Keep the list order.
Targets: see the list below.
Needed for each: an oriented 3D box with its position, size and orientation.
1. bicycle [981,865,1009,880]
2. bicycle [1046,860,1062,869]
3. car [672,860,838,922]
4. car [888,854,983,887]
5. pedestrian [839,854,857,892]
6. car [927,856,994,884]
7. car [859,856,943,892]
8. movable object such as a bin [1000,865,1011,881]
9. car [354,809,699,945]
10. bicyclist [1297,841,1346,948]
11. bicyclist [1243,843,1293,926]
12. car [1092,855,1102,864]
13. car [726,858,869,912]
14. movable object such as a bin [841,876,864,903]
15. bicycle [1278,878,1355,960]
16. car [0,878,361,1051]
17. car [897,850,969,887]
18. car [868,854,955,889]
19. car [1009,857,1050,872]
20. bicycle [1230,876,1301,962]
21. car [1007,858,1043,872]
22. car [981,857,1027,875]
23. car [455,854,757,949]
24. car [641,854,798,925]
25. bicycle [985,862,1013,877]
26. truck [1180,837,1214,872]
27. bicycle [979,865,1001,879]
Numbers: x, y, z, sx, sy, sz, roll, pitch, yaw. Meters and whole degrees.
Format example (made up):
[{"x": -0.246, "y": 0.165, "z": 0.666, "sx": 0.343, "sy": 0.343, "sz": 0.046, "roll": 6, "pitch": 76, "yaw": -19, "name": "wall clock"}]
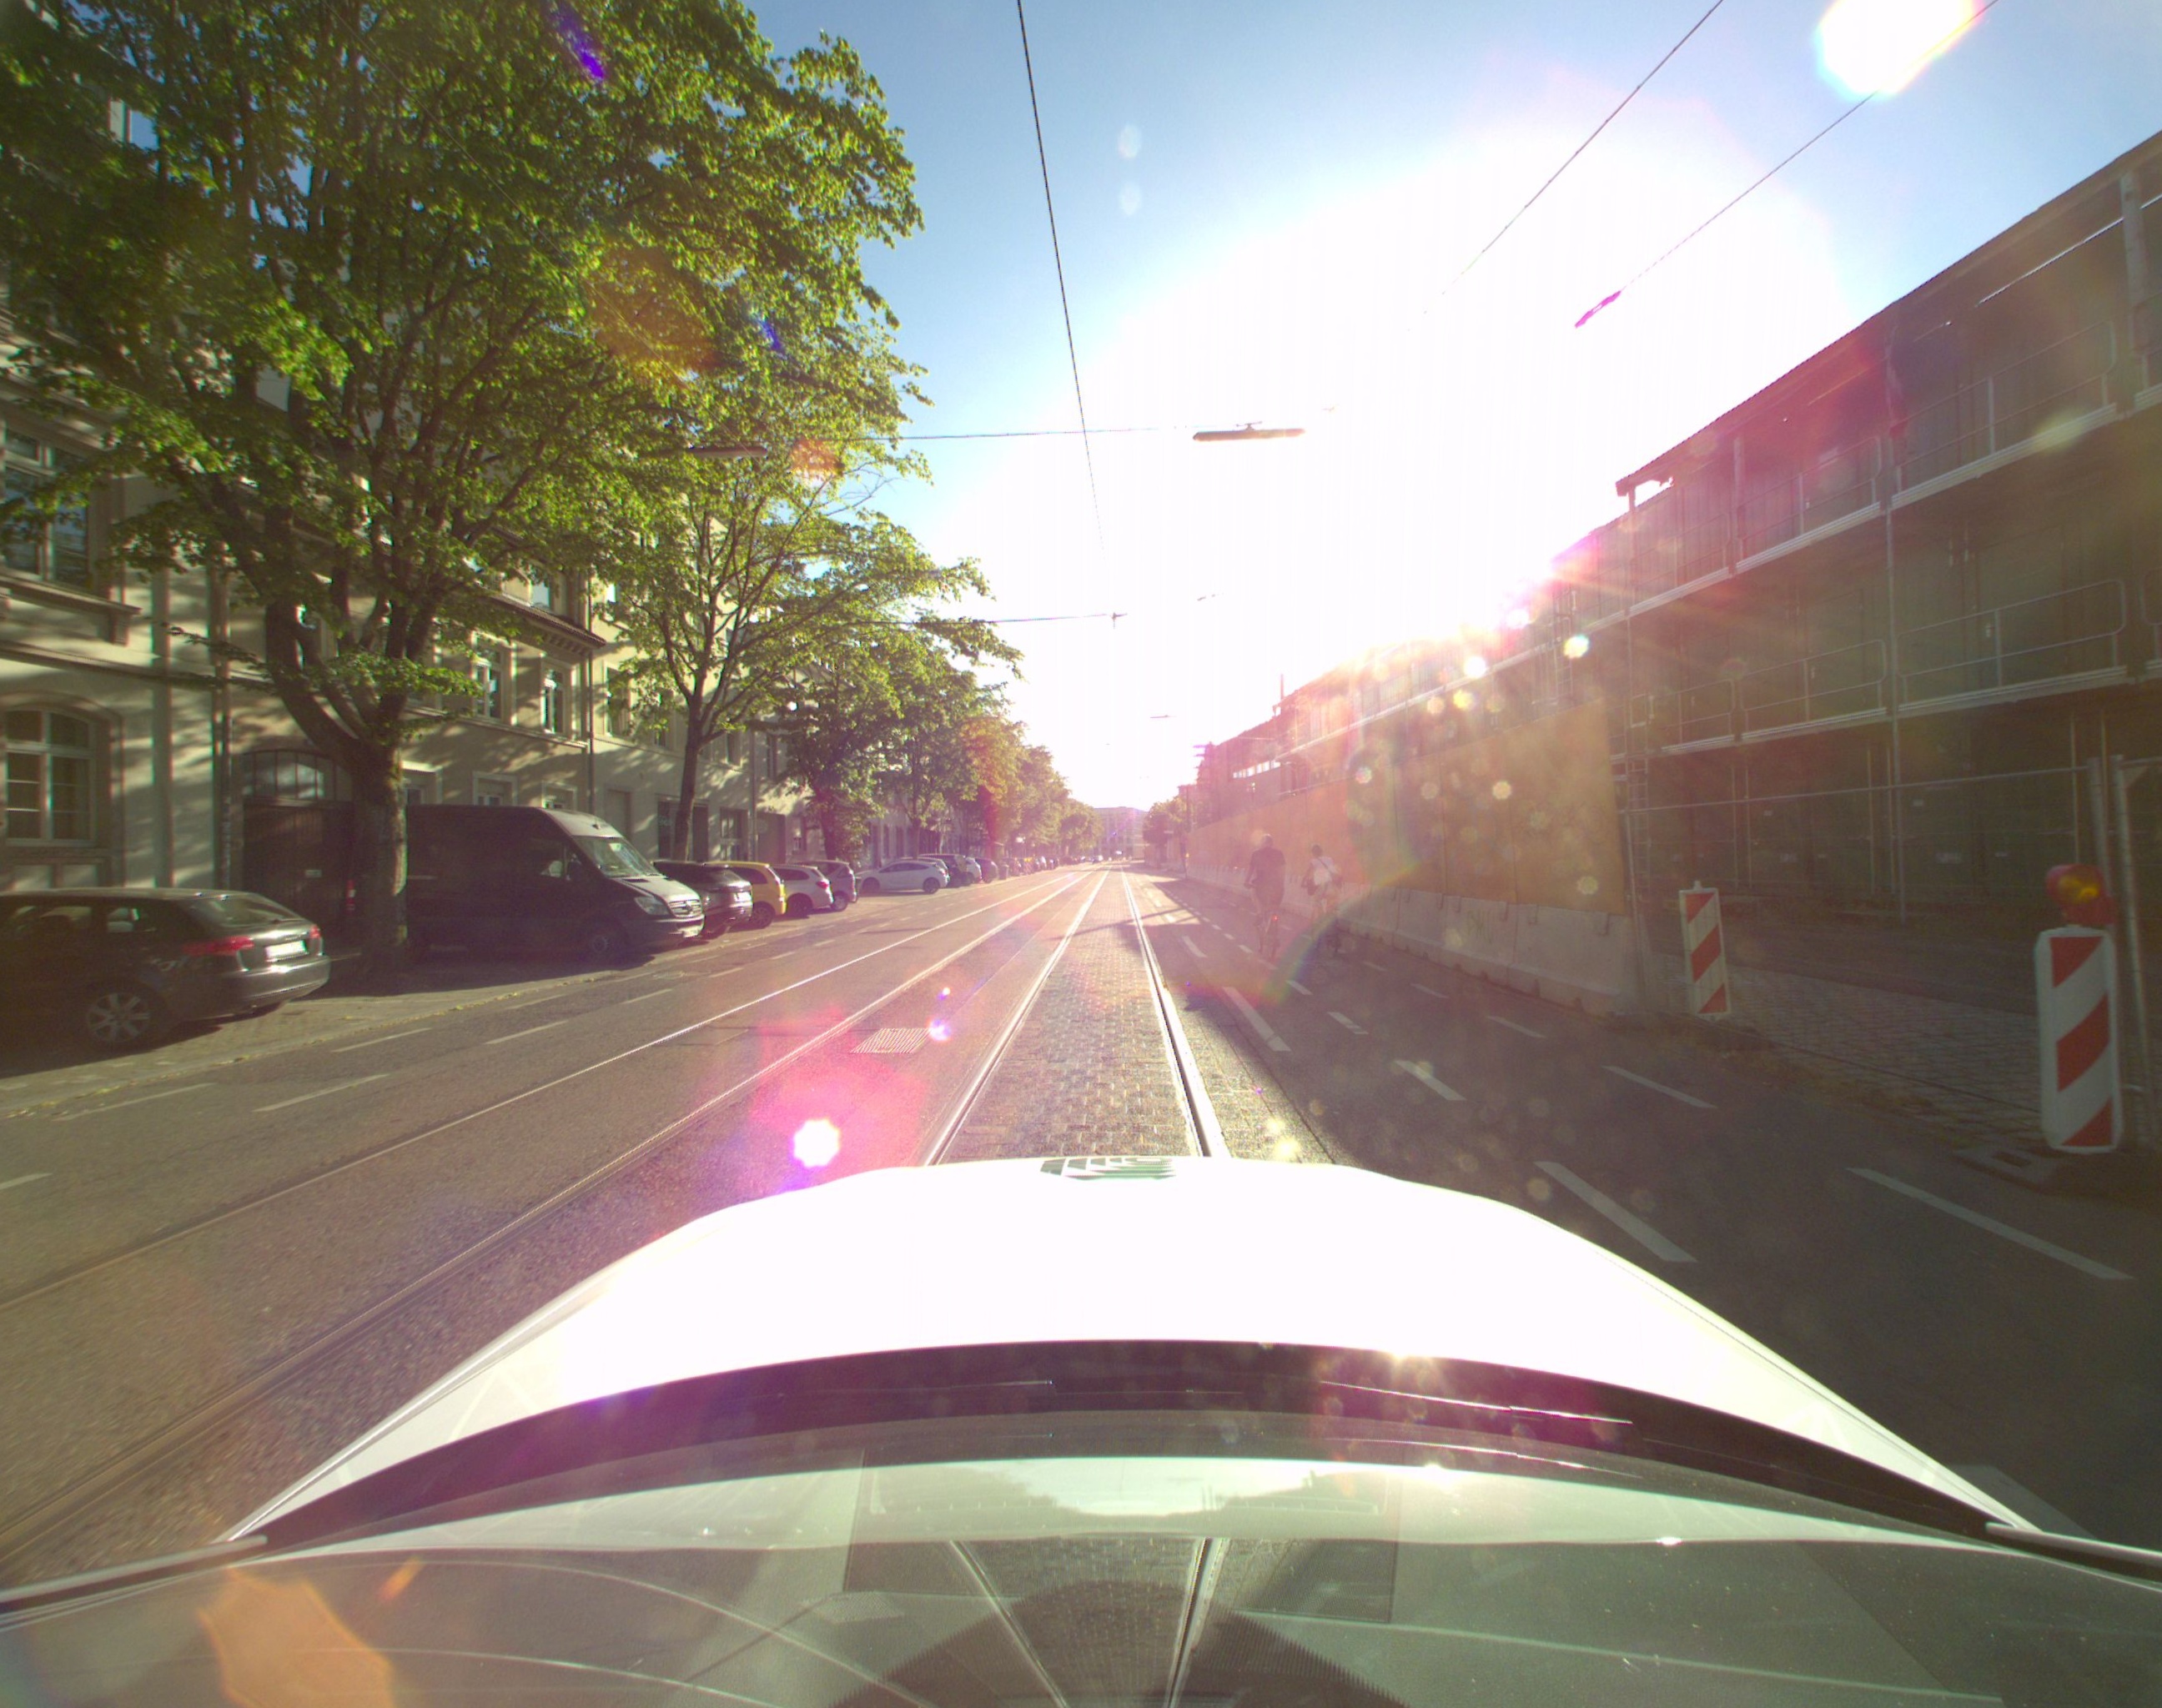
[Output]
[{"x": -6.434, "y": 1.365, "z": 61.088, "sx": 1.958, "sy": 1.079, "sz": 0.569, "roll": 2, "pitch": 0, "yaw": 4, "name": "bicycle"}, {"x": -3.294, "y": 1.282, "z": 99.663, "sx": 1.969, "sy": 1.144, "sz": 0.490, "roll": 1, "pitch": -1, "yaw": -16, "name": "bicycle"}, {"x": -9.246, "y": 1.012, "z": 23.434, "sx": 4.164, "sy": 1.552, "sz": 1.695, "roll": -2, "pitch": 0, "yaw": -14, "name": "car"}, {"x": -8.385, "y": 0.911, "z": 47.096, "sx": 4.964, "sy": 1.794, "sz": 2.184, "roll": -1, "pitch": 0, "yaw": -38, "name": "car"}, {"x": -11.449, "y": 0.933, "z": 40.034, "sx": 0.640, "sy": 1.838, "sz": 0.625, "roll": -1, "pitch": -1, "yaw": 4, "name": "pedestrian"}, {"x": -7.706, "y": 0.987, "z": 52.074, "sx": 3.918, "sy": 1.609, "sz": 1.556, "roll": -2, "pitch": 0, "yaw": -35, "name": "car"}, {"x": -8.322, "y": 0.931, "z": 37.614, "sx": 3.645, "sy": 1.530, "sz": 1.875, "roll": 2, "pitch": -1, "yaw": -18, "name": "car"}, {"x": -5.435, "y": 1.348, "z": 58.618, "sx": 0.681, "sy": 1.078, "sz": 0.710, "roll": 2, "pitch": 0, "yaw": 4, "name": "movable object such as a bin"}, {"x": -9.317, "y": 0.371, "z": 14.033, "sx": 4.422, "sy": 2.118, "sz": 2.163, "roll": -1, "pitch": 0, "yaw": 0, "name": "car"}, {"x": 3.738, "y": 0.624, "z": 12.701, "sx": 0.554, "sy": 1.613, "sz": 0.576, "roll": -2, "pitch": 0, "yaw": 0, "name": "bicyclist"}, {"x": 2.875, "y": 0.466, "z": 12.545, "sx": 0.649, "sy": 1.238, "sz": 0.353, "roll": -2, "pitch": 0, "yaw": 0, "name": "bicyclist"}, {"x": 3.354, "y": 1.104, "z": 169.200, "sx": 1.920, "sy": 1.629, "sz": 4.251, "roll": -4, "pitch": 1, "yaw": 2, "name": "car"}, {"x": -9.072, "y": 0.974, "z": 26.234, "sx": 3.971, "sy": 1.676, "sz": 1.704, "roll": 0, "pitch": 0, "yaw": 2, "name": "car"}, {"x": -8.267, "y": 1.284, "z": 29.469, "sx": 0.619, "sy": 0.945, "sz": 0.670, "roll": -1, "pitch": 0, "yaw": 1, "name": "movable object such as a bin"}, {"x": 3.741, "y": 0.981, "z": 13.111, "sx": 0.555, "sy": 1.127, "sz": 2.275, "roll": -2, "pitch": 0, "yaw": 0, "name": "bicycle"}, {"x": -9.881, "y": 0.983, "z": 7.813, "sx": 4.090, "sy": 1.453, "sz": 1.663, "roll": 1, "pitch": -1, "yaw": -13, "name": "car"}, {"x": -8.057, "y": 0.827, "z": 44.401, "sx": 3.458, "sy": 1.843, "sz": 1.715, "roll": 2, "pitch": -4, "yaw": -33, "name": "car"}, {"x": -8.707, "y": 0.898, "z": 41.868, "sx": 4.009, "sy": 1.656, "sz": 1.794, "roll": 2, "pitch": 0, "yaw": -28, "name": "car"}, {"x": -5.695, "y": 1.159, "z": 89.496, "sx": 4.123, "sy": 1.512, "sz": 1.826, "roll": 1, "pitch": 0, "yaw": -24, "name": "car"}, {"x": 2.834, "y": 0.956, "z": 12.748, "sx": 0.665, "sy": 1.154, "sz": 2.277, "roll": 0, "pitch": 0, "yaw": 2, "name": "bicycle"}, {"x": -5.949, "y": 1.174, "z": 86.601, "sx": 3.379, "sy": 1.493, "sz": 1.599, "roll": 1, "pitch": 0, "yaw": -26, "name": "car"}, {"x": -6.756, "y": 1.049, "z": 71.447, "sx": 3.629, "sy": 1.553, "sz": 1.656, "roll": 1, "pitch": 1, "yaw": -24, "name": "car"}, {"x": -9.446, "y": 0.904, "z": 16.538, "sx": 4.813, "sy": 1.724, "sz": 2.163, "roll": -1, "pitch": 0, "yaw": 0, "name": "car"}, {"x": -8.822, "y": 0.831, "z": 19.942, "sx": 3.383, "sy": 1.552, "sz": 1.372, "roll": 1, "pitch": 2, "yaw": -29, "name": "car"}, {"x": -6.280, "y": 1.189, "z": 62.413, "sx": 1.993, "sy": 1.087, "sz": 0.568, "roll": 3, "pitch": 0, "yaw": 4, "name": "bicycle"}, {"x": 10.550, "y": 0.082, "z": 74.418, "sx": 2.508, "sy": 2.909, "sz": 5.513, "roll": -4, "pitch": -1, "yaw": 4, "name": "truck"}, {"x": -6.660, "y": 1.330, "z": 59.414, "sx": 1.598, "sy": 0.988, "sz": 0.388, "roll": 1, "pitch": 0, "yaw": -9, "name": "bicycle"}]
